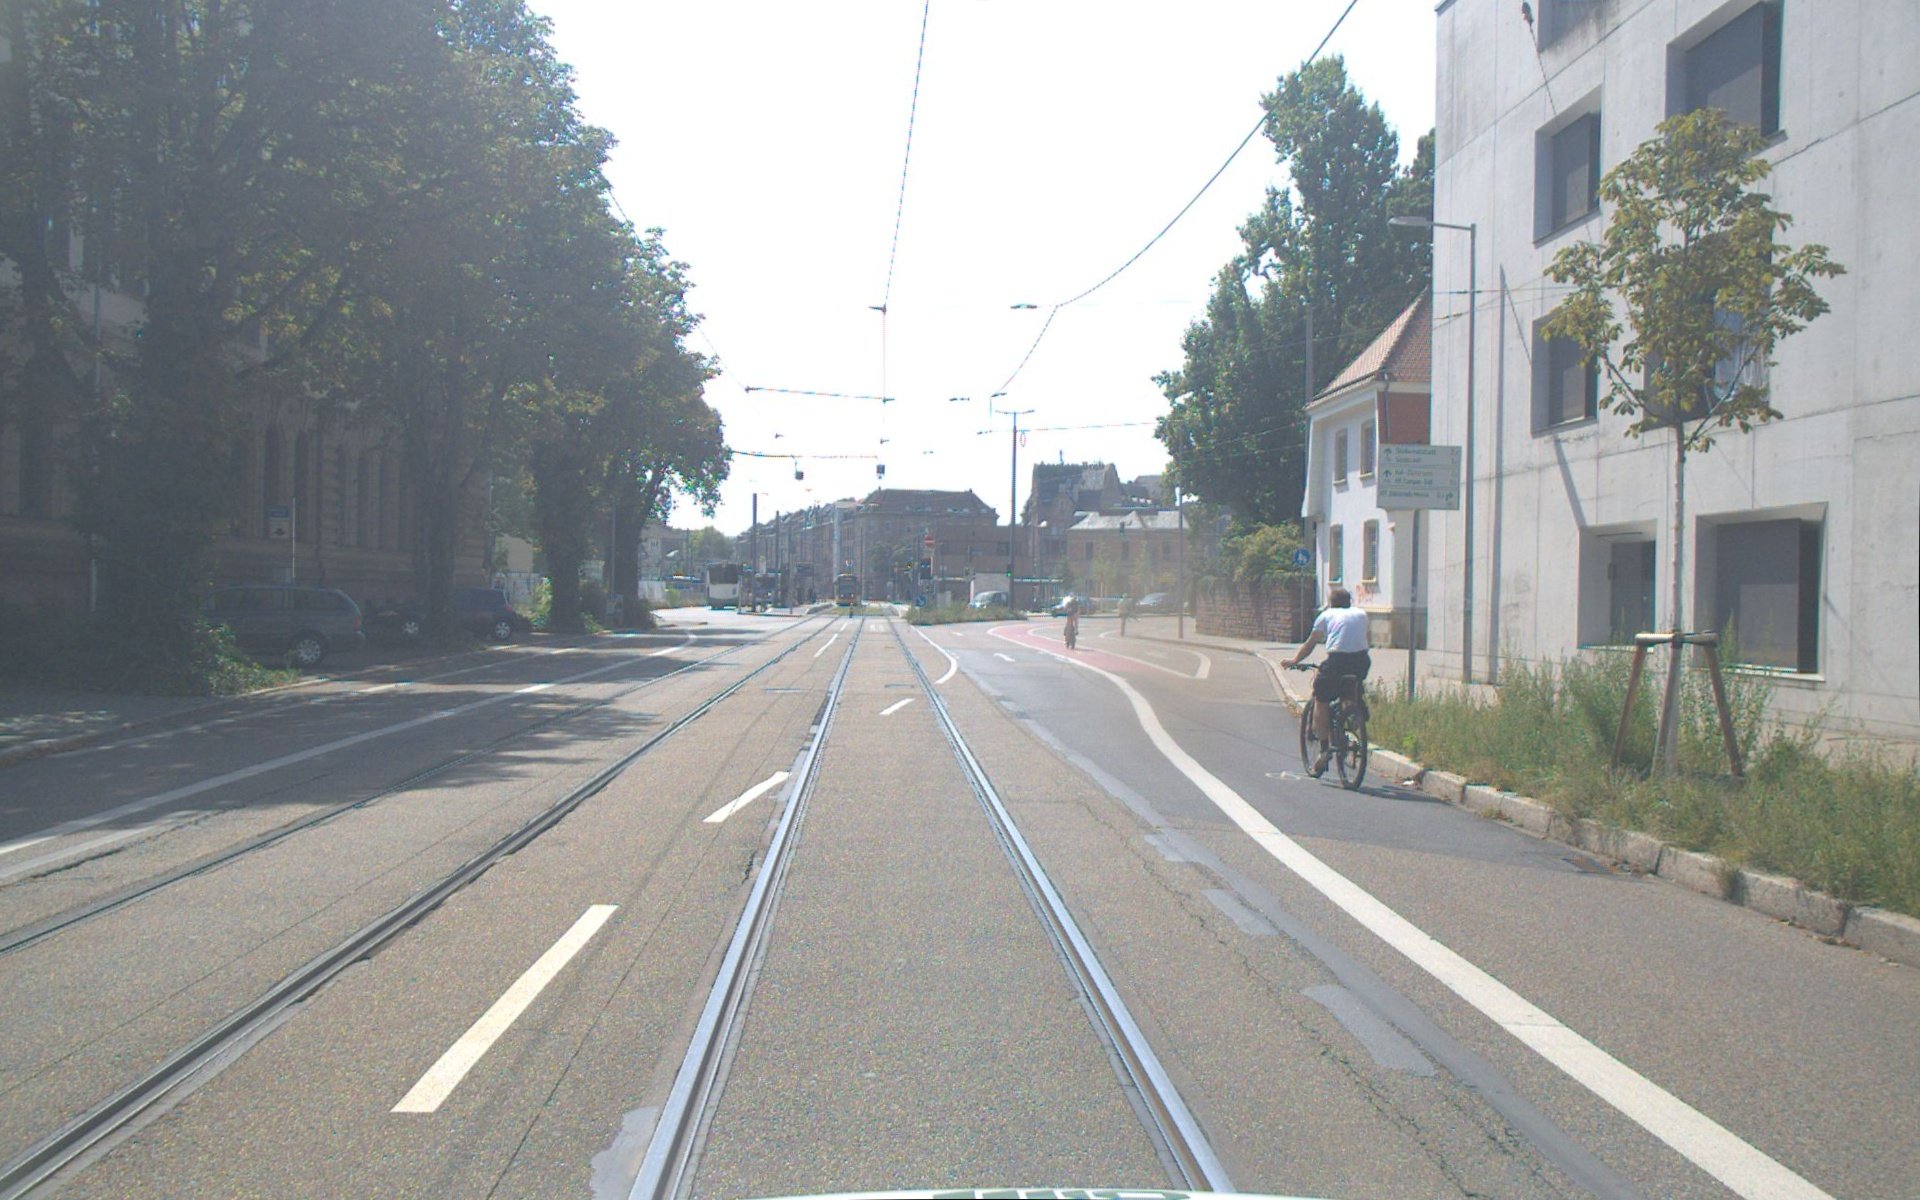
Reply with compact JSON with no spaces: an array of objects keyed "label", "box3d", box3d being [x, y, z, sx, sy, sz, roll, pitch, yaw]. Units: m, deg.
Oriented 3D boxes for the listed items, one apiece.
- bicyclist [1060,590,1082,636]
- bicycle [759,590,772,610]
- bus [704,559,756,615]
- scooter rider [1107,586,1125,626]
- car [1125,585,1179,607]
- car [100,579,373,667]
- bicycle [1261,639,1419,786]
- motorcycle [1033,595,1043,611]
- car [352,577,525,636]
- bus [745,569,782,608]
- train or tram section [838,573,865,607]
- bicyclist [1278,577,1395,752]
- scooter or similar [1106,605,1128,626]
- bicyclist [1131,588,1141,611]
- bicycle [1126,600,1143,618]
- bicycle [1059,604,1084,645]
[{"label":"bicyclist","box3d":[3.317,0.384,49.408,0.590,1.358,0.659,1,0,-2]},{"label":"bicycle","box3d":[-12.726,-0.008,108.396,0.595,1.244,1.705,1,0,1]},{"label":"bus","box3d":[-16.818,-0.935,121.544,2.899,3.840,10.589,1,0,-4]},{"label":"scooter rider","box3d":[7.239,0.277,76.723,0.746,1.806,0.555,1,0,14]},{"label":"car","box3d":[14.305,-0.295,123.225,1.745,1.639,4.648,1,0,40]},{"label":"car","box3d":[-13.092,0.425,29.989,4.368,1.487,1.803,1,0,-30]},{"label":"bicycle","box3d":[3.199,0.913,14.146,0.724,1.067,2.232,1,0,-3]},{"label":"motorcycle","box3d":[6.271,0.231,133.115,0.591,1.232,2.255,1,0,8]},{"label":"car","box3d":[-14.143,0.167,44.984,4.125,1.522,1.794,1,1,-41]},{"label":"bus","box3d":[-19.775,-1.124,166.874,2.655,3.792,10.415,1,0,-2]},{"label":"train or tram section","box3d":[-12.257,-1.081,188.039,2.799,3.610,17.730,1,0,-3]},{"label":"bicyclist","box3d":[3.219,0.531,14.216,0.730,1.436,0.961,1,0,-3]},{"label":"scooter or similar","box3d":[7.241,0.718,76.402,0.756,0.942,1.621,1,1,14]},{"label":"bicyclist","box3d":[11.019,-0.010,103.368,0.442,1.446,0.494,0,0,33]},{"label":"bicycle","box3d":[10.904,0.553,103.192,0.436,1.136,1.442,2,1,33]},{"label":"bicycle","box3d":[3.317,0.730,49.380,0.591,1.183,1.810,1,0,0]}]
